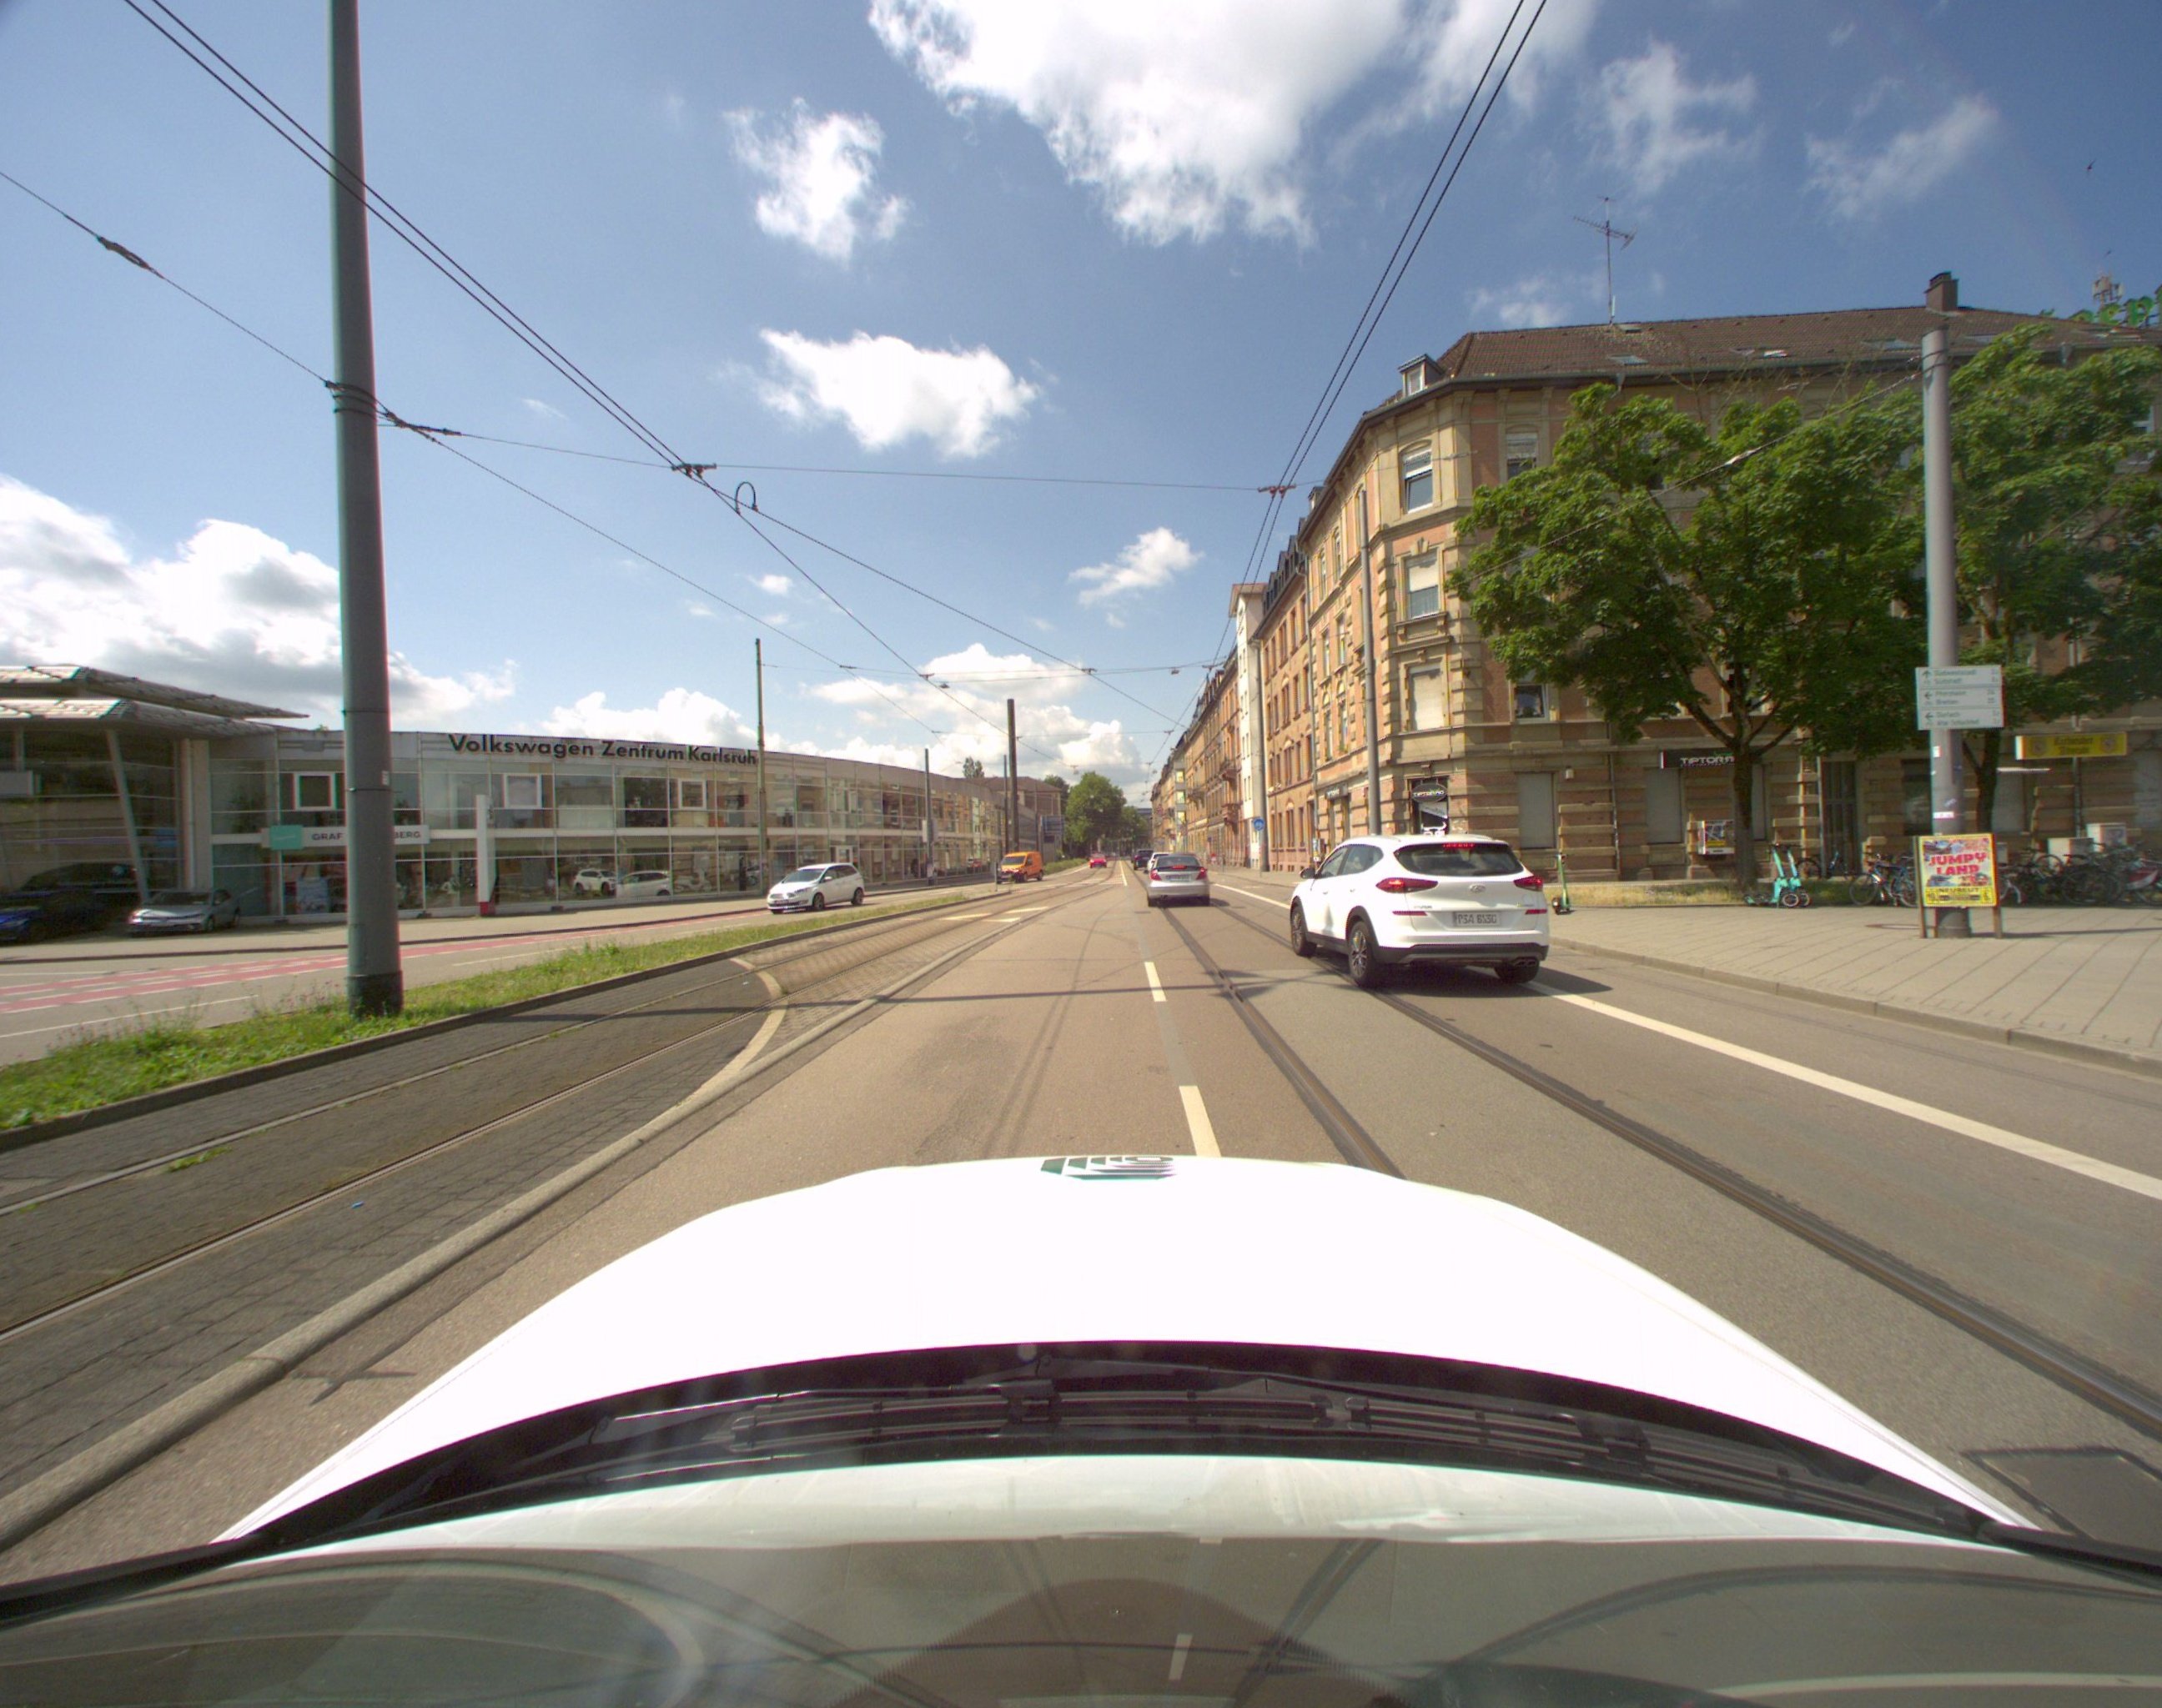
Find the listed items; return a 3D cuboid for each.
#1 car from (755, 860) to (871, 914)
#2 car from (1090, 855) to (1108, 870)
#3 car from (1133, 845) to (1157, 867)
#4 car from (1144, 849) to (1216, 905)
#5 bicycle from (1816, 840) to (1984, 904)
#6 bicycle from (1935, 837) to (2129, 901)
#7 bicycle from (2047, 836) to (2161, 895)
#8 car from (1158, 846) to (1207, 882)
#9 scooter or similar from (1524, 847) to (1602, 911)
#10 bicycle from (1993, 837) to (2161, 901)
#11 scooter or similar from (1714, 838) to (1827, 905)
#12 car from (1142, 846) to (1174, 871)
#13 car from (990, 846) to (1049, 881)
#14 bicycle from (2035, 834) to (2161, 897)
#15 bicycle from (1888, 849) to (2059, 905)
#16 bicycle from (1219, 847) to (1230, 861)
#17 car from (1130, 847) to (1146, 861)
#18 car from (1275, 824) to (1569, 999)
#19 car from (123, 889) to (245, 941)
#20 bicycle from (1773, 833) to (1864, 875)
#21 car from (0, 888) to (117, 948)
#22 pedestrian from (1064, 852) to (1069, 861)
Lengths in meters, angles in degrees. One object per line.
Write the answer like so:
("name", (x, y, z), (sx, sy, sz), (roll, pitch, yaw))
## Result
("car", (-9.608, 1.135, 29.608), (1.753, 1.604, 4.511), (-3, 0, 15))
("car", (1.859, 0.852, 84.001), (1.694, 1.428, 3.906), (-2, 0, 4))
("car", (5.369, 0.158, 68.498), (1.807, 1.661, 4.088), (-3, 0, 2))
("car", (2.769, 0.625, 23.581), (1.806, 1.420, 4.192), (-2, 0, 4))
("bicycle", (15.583, 0.323, 15.612), (1.019, 1.081, 2.267), (-3, 0, 5))
("bicycle", (17.937, 0.267, 15.498), (0.788, 1.070, 2.577), (-3, 0, 5))
("bicycle", (20.587, 0.209, 15.776), (0.788, 1.053, 2.577), (-3, 0, 5))
("car", (4.740, 0.443, 38.398), (1.808, 1.524, 4.085), (-2, 0, 1))
("scooter or similar", (9.440, 0.473, 15.994), (0.942, 1.179, 1.089), (-3, 0, 9))
("bicycle", (18.788, 0.255, 15.182), (0.788, 1.053, 2.577), (-3, 0, 5))
("scooter or similar", (13.471, 0.337, 15.969), (0.946, 1.203, 1.388), (-3, 0, -4))
("car", (4.967, 0.266, 52.651), (1.807, 1.524, 3.958), (-2, 0, 2))
("car", (-3.581, 0.529, 48.204), (1.896, 1.865, 4.387), (-3, 0, 17))
("bicycle", (19.680, 0.204, 15.218), (0.788, 1.091, 2.577), (-3, 0, 5))
("bicycle", (16.689, 0.389, 15.337), (0.838, 0.879, 2.291), (-3, 1, 5))
("bicycle", (12.267, 0.015, 69.630), (0.584, 1.178, 2.207), (-3, 0, 4))
("car", (7.977, -0.070, 114.959), (1.986, 1.859, 4.001), (-2, 0, 1))
("car", (3.839, 0.550, 10.056), (1.846, 1.634, 4.180), (-2, 0, 0))
("car", (-30.295, 1.999, 27.652), (1.842, 1.446, 3.905), (-2, 0, -33))
("bicycle", (19.786, 0.008, 21.879), (1.636, 1.050, 0.767), (-2, 0, 10))
("car", (-32.466, 1.946, 25.222), (1.661, 1.473, 3.762), (-2, 2, -21))
("pedestrian", (-2.824, 0.476, 162.626), (0.876, 1.865, 1.082), (-3, 0, 3))
